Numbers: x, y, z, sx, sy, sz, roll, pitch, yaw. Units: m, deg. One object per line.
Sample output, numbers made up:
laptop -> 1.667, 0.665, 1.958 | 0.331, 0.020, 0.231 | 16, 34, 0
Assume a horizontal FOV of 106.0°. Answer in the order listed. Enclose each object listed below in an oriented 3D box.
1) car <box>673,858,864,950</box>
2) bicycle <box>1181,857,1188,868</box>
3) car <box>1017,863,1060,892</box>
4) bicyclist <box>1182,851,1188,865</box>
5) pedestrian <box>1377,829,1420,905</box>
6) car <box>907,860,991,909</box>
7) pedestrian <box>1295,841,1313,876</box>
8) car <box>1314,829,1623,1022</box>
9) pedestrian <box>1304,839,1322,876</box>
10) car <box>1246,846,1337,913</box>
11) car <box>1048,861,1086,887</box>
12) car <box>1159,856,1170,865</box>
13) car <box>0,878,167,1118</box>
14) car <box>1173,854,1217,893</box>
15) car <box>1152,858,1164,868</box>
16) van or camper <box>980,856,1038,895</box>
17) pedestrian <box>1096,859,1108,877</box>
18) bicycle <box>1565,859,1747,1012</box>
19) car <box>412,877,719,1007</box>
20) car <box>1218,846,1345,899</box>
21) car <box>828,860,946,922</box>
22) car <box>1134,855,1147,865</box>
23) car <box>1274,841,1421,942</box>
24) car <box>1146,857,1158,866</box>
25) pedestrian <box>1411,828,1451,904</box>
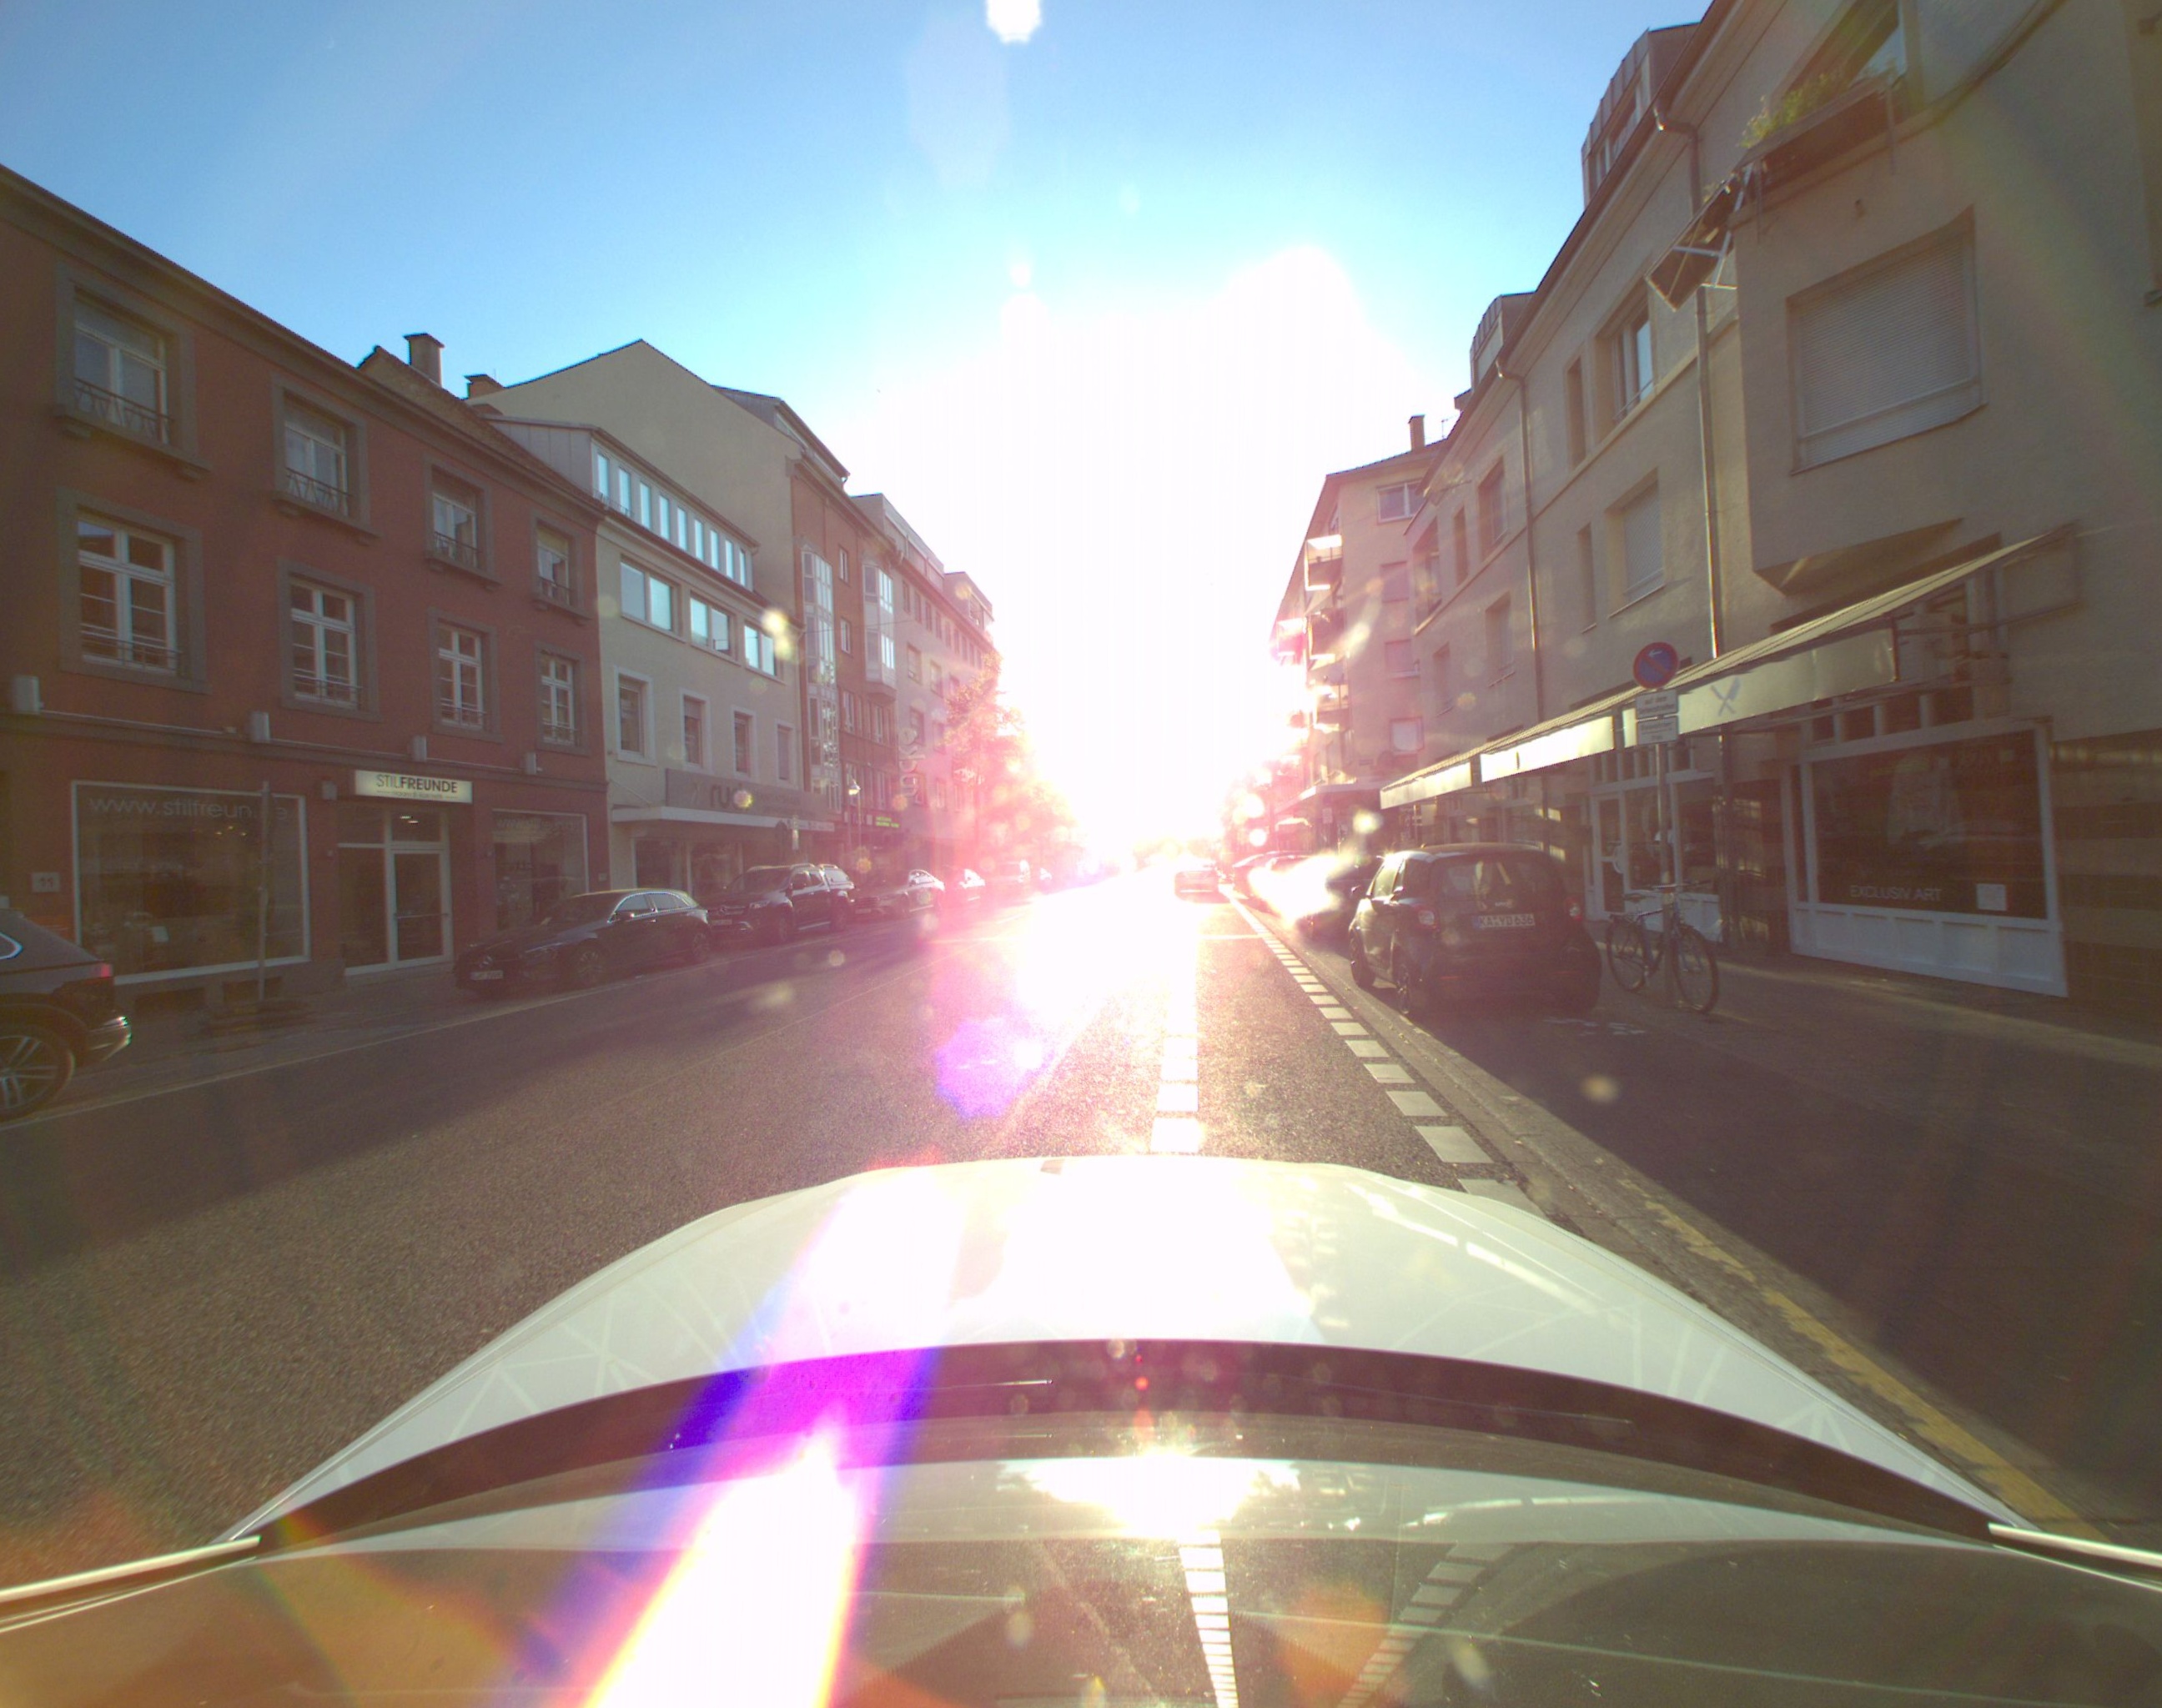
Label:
car -> -7.231, 1.064, 19.603 | 1.984, 1.777, 5.327 | -4, 0, 6
bicycle -> 12.057, 0.925, 94.635 | 0.659, 1.243, 2.136 | -1, 0, 11
car -> -2.424, 1.331, 47.401 | 1.679, 1.502, 3.797 | -3, 0, 9
bicyclist -> 12.084, 0.485, 94.557 | 0.543, 1.580, 0.805 | -3, -1, 11
pedestrian -> 7.500, 0.303, 19.265 | 0.627, 1.700, 1.042 | -3, -1, 7
car -> -5.053, 1.129, 31.824 | 1.983, 1.655, 4.489 | -3, 0, 7
pedestrian -> 11.677, 0.218, 42.614 | 0.714, 1.791, 0.668 | -3, -1, 8
car -> 3.873, 0.618, 8.964 | 1.780, 1.580, 3.973 | -3, 0, 6
pedestrian -> 11.593, 0.162, 40.694 | 0.714, 1.791, 0.668 | -3, -1, 8
car -> 5.631, 0.639, 22.182 | 1.780, 1.580, 3.793 | -3, 0, 6
car -> -0.854, 1.262, 52.406 | 1.679, 1.502, 3.797 | -3, 0, 9
car -> 15.123, 1.181, 147.029 | 1.679, 1.502, 3.797 | -3, 0, 9
car -> -8.889, 1.130, 4.716 | 1.785, 1.698, 4.469 | -5, -1, 7
car -> 4.801, 0.786, 33.955 | 1.679, 1.502, 3.797 | -1, 0, 9
car -> 13.183, 1.502, 139.813 | 1.679, 1.502, 3.797 | -3, 0, 9
van or camper -> -3.623, 1.059, 41.647 | 1.777, 1.774, 4.570 | -3, 0, 9
pedestrian -> 2.478, 1.673, 95.929 | 1.014, 2.013, 0.828 | -5, -1, 36
bicycle -> 5.251, 0.671, 7.599 | 0.555, 1.206, 1.983 | -3, 0, 10
car -> -7.984, 1.266, 13.242 | 1.676, 1.488, 4.419 | -5, -1, 7
car -> 7.143, 0.606, 28.908 | 4.335, 1.697, 1.860 | -1, 0, -31
car -> -6.045, 1.104, 26.076 | 1.982, 1.655, 4.639 | -4, 0, 8
car -> 10.209, 1.037, 139.688 | 1.679, 1.502, 3.797 | -3, 0, 9
car -> 4.801, 0.617, 15.227 | 1.780, 1.580, 3.793 | -3, 0, 6
car -> 12.675, 1.356, 145.585 | 1.679, 1.502, 3.797 | -3, 0, 9
pedestrian -> 8.144, 0.279, 18.981 | 0.556, 1.700, 0.833 | -3, -1, 7
